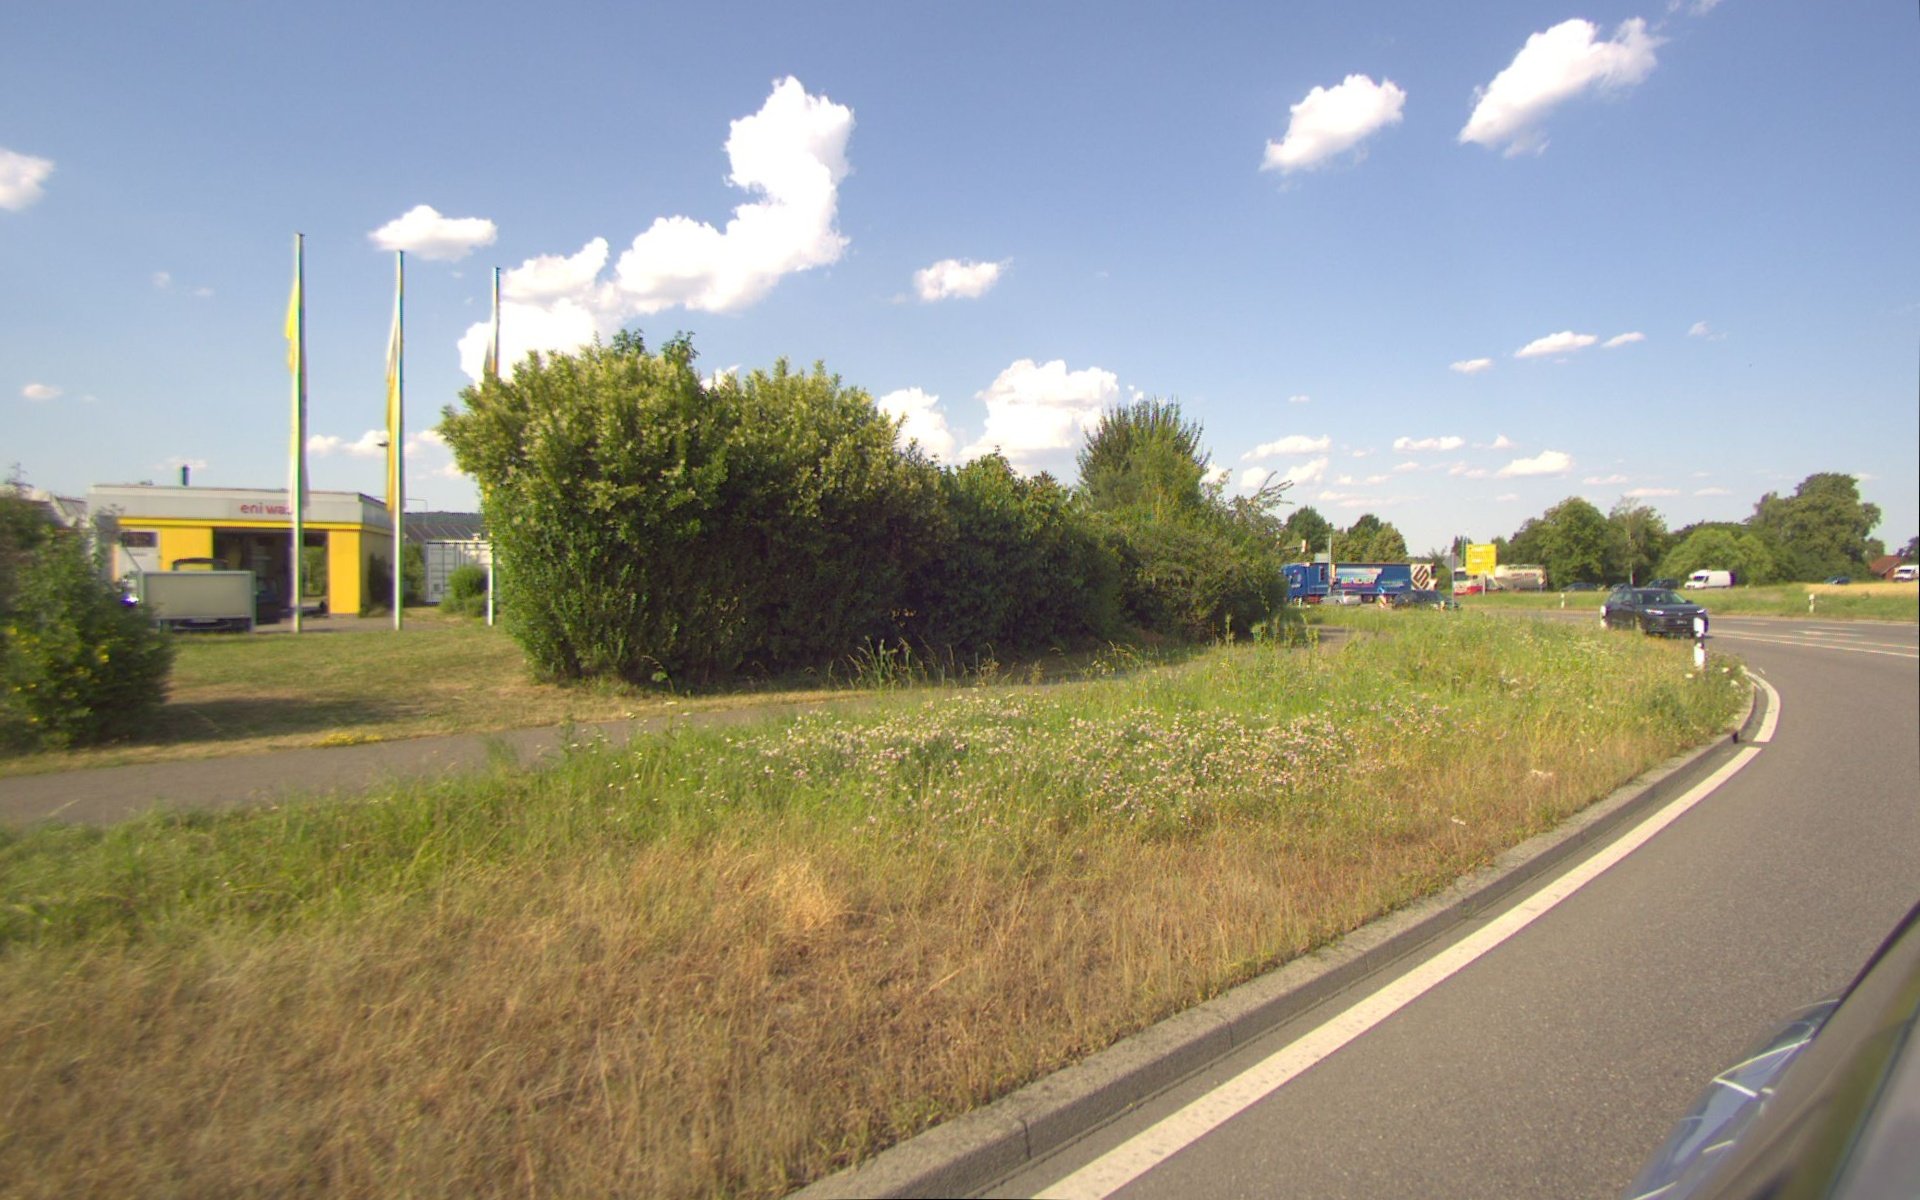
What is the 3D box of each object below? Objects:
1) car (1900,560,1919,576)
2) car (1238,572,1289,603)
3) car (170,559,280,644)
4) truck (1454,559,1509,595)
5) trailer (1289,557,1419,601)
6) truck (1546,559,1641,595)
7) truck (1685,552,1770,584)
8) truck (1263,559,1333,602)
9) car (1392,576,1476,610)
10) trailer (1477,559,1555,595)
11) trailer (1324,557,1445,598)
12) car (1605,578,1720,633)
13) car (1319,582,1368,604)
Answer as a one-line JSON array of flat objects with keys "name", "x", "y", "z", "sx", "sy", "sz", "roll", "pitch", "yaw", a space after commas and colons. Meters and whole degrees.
[{"name": "car", "x": 137.675, "y": -4.597, "z": 145.424, "sx": 3.916, "sy": 2.041, "sz": 2.002, "roll": -2, "pitch": -5, "yaw": -19}, {"name": "car", "x": 20.933, "y": -0.878, "z": 69.975, "sx": 1.871, "sy": 1.972, "sz": 4.375, "roll": -4, "pitch": 1, "yaw": -3}, {"name": "car", "x": -20.060, "y": 0.049, "z": 27.573, "sx": 1.890, "sy": 2.141, "sz": 3.679, "roll": -1, "pitch": 0, "yaw": -44}, {"name": "truck", "x": 57.935, "y": -2.518, "z": 112.465, "sx": 5.568, "sy": 3.853, "sz": 2.267, "roll": -2, "pitch": 0, "yaw": -23}, {"name": "trailer", "x": 39.344, "y": -2.085, "z": 100.959, "sx": 13.464, "sy": 4.056, "sz": 3.425, "roll": -2, "pitch": 0, "yaw": -23}, {"name": "truck", "x": 75.173, "y": -2.760, "z": 119.963, "sx": 12.631, "sy": 3.822, "sz": 2.534, "roll": -2, "pitch": -2, "yaw": -22}, {"name": "truck", "x": 98.264, "y": -4.082, "z": 129.453, "sx": 12.630, "sy": 3.822, "sz": 2.535, "roll": -2, "pitch": 0, "yaw": -22}, {"name": "truck", "x": 32.802, "y": -1.888, "z": 98.222, "sx": 5.485, "sy": 4.056, "sz": 3.382, "roll": -2, "pitch": 0, "yaw": -23}, {"name": "car", "x": 24.218, "y": -0.345, "z": 51.920, "sx": 1.740, "sy": 1.633, "sz": 4.552, "roll": -2, "pitch": 0, "yaw": -6}, {"name": "trailer", "x": 63.071, "y": -2.657, "z": 114.742, "sx": 9.327, "sy": 3.826, "sz": 2.269, "roll": -1, "pitch": -1, "yaw": -23}, {"name": "trailer", "x": 45.021, "y": -2.374, "z": 107.091, "sx": 14.037, "sy": 4.119, "sz": 2.544, "roll": -1, "pitch": -1, "yaw": -23}, {"name": "car", "x": 23.295, "y": 0.155, "z": 33.743, "sx": 1.764, "sy": 1.650, "sz": 4.446, "roll": -2, "pitch": 0, "yaw": 16}, {"name": "car", "x": 30.535, "y": -0.505, "z": 80.644, "sx": 1.784, "sy": 1.548, "sz": 4.357, "roll": -2, "pitch": -2, "yaw": -7}]
